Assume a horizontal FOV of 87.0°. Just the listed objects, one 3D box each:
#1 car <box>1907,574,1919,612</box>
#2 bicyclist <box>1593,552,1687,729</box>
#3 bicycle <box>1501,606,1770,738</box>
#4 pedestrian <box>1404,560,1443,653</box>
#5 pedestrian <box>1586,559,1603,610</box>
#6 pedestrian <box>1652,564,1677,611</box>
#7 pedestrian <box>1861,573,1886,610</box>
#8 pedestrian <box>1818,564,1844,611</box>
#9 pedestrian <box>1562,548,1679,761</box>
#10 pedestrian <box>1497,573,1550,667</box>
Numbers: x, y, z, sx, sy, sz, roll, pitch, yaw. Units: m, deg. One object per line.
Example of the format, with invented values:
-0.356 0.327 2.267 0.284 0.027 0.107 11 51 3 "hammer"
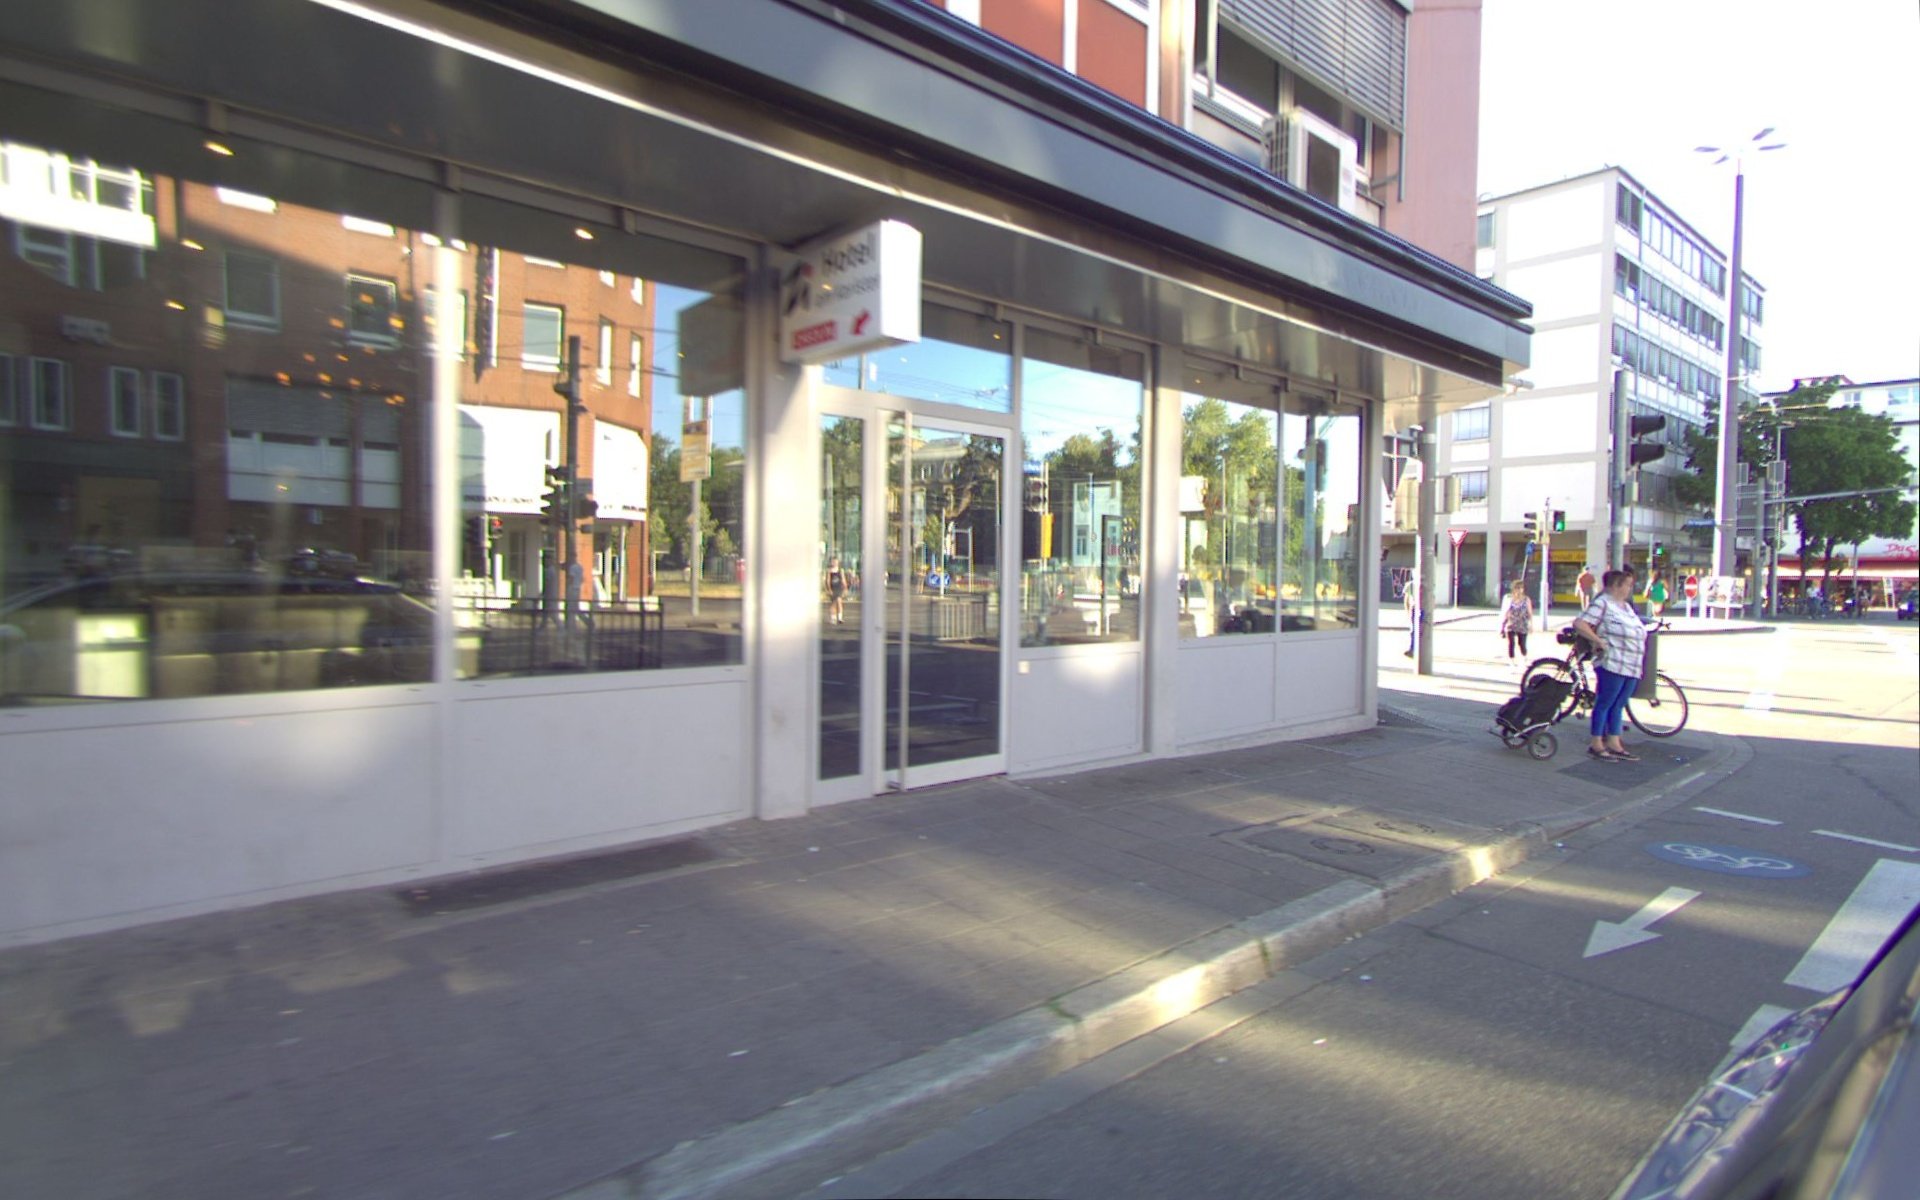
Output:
44.753 -0.332 46.200 4.794 1.695 1.968 -1 0 -44 "car"
6.878 0.376 10.235 0.756 1.699 0.635 -1 2 -45 "bicyclist"
6.803 0.666 10.303 0.756 1.137 2.171 -1 2 -44 "bicycle"
9.137 0.103 19.922 0.648 1.790 0.805 1 1 27 "pedestrian"
21.626 -0.528 34.501 0.402 1.740 0.391 -2 -1 26 "pedestrian"
22.372 -0.405 32.123 0.594 1.461 0.605 -2 -1 38 "pedestrian"
43.580 -0.427 48.281 0.858 1.731 1.035 0 1 45 "pedestrian"
39.038 -0.564 45.364 0.743 2.039 1.057 -2 -1 36 "pedestrian"
5.617 0.425 8.600 0.635 1.681 0.758 6 5 40 "pedestrian"
9.576 0.315 17.191 0.688 1.554 0.605 1 2 38 "pedestrian"
